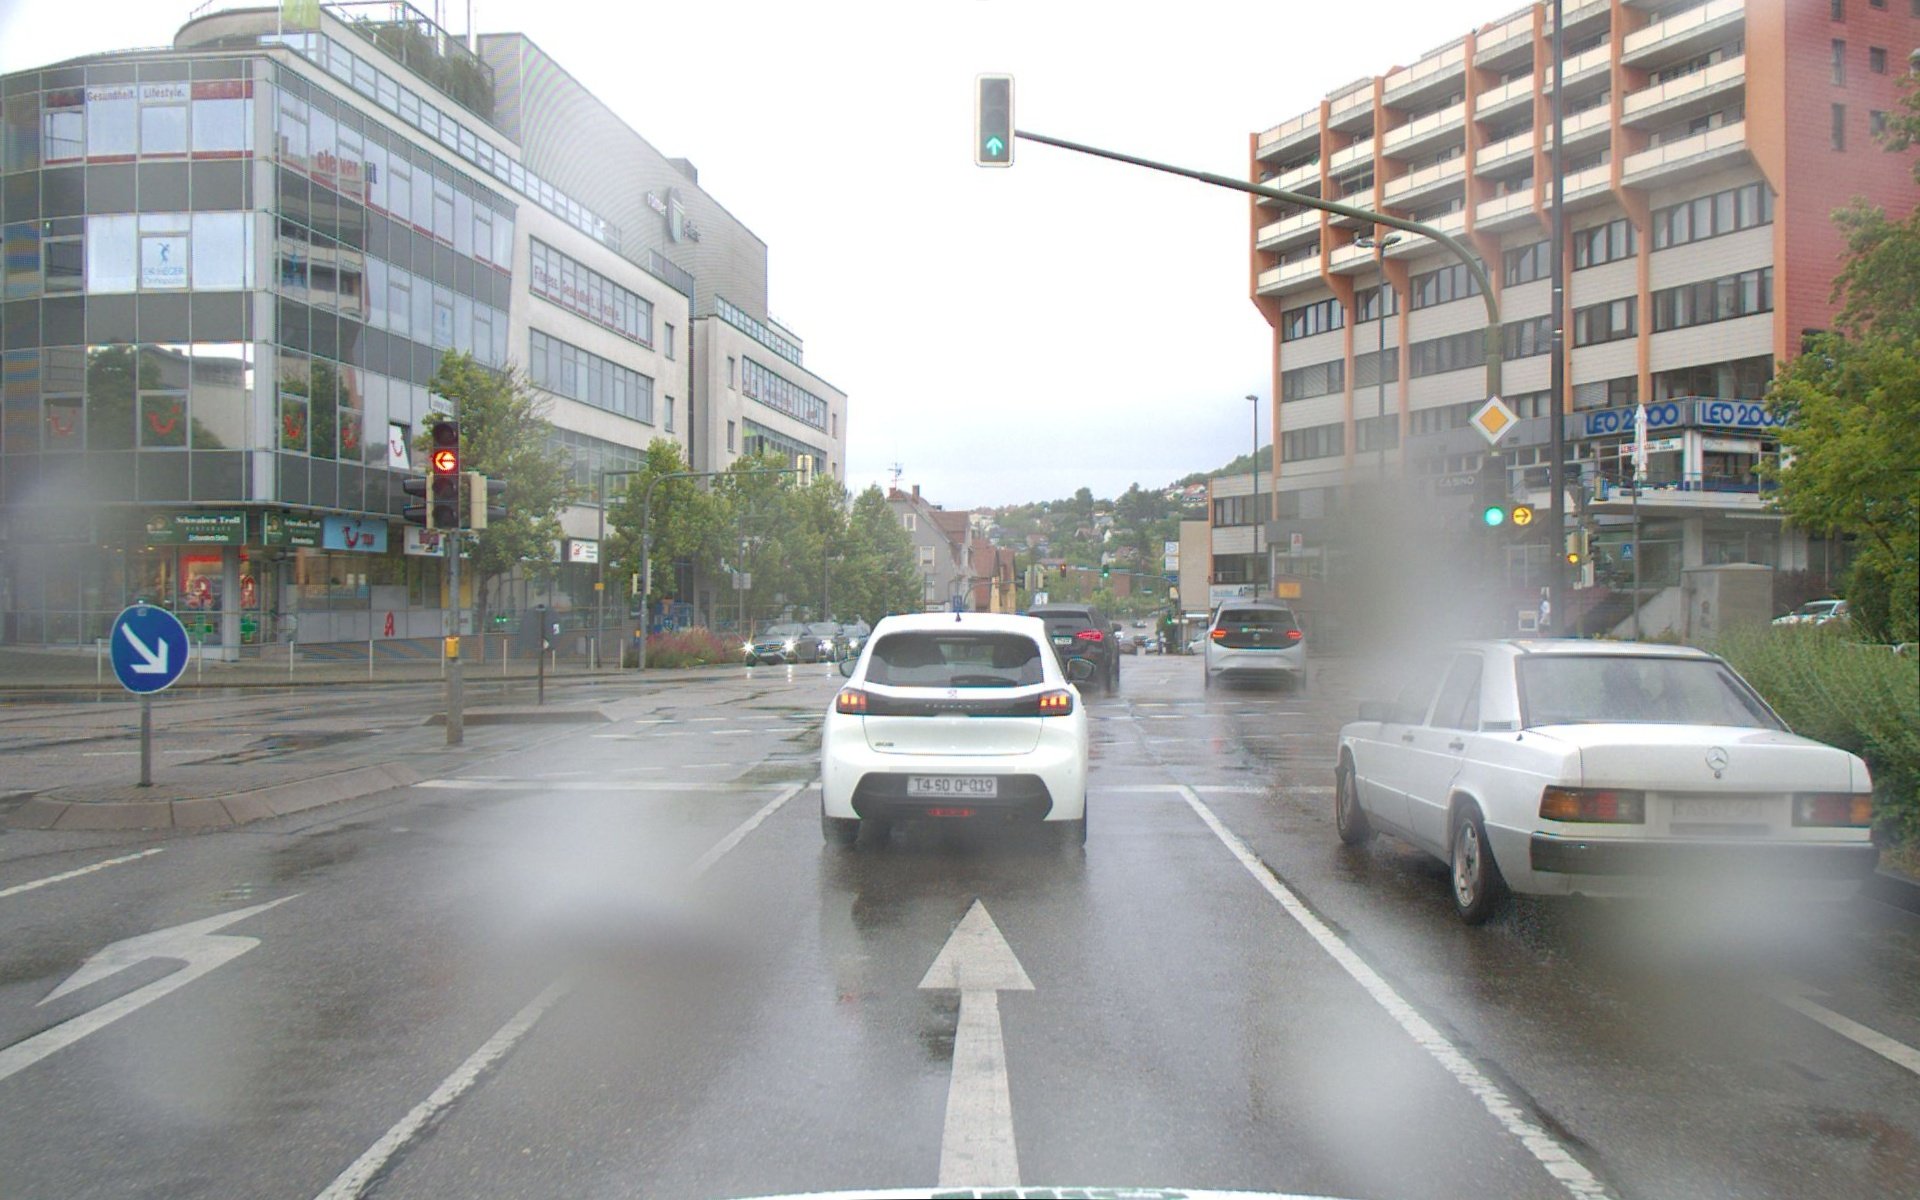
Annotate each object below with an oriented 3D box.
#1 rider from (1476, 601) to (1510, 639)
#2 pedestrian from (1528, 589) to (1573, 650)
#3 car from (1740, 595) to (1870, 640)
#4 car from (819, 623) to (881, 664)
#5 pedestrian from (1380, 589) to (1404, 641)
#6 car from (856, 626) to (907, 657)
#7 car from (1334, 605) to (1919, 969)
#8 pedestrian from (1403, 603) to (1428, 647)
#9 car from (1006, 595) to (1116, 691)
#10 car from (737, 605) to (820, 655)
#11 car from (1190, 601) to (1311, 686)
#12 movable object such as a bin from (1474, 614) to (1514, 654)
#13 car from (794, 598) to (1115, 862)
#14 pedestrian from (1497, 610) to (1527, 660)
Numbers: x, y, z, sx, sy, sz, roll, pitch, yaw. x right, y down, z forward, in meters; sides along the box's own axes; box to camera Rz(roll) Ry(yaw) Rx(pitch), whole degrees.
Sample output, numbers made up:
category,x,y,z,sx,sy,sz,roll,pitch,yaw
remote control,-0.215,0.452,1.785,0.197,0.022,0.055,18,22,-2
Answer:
category,x,y,z,sx,sy,sz,roll,pitch,yaw
rider,19.249,0.727,59.718,0.903,1.307,1.091,-3,0,7
pedestrian,16.996,0.555,47.635,0.812,1.720,1.127,0,-1,-5
car,29.387,0.592,57.483,4.725,1.431,1.794,-1,-2,-31
car,-4.761,1.876,72.414,1.736,1.622,4.591,-4,-1,8
pedestrian,13.738,0.468,52.590,0.692,1.635,0.656,1,-1,11
car,-3.713,1.959,78.831,1.689,1.412,4.603,-2,-1,6
car,3.305,0.811,9.021,1.600,1.474,4.268,1,-1,1
pedestrian,14.670,0.807,53.289,0.692,1.369,0.656,-1,-1,10
car,1.751,0.723,28.920,1.777,1.556,3.814,0,0,3
car,-6.303,1.012,58.010,1.879,1.660,4.906,1,0,6
car,5.116,0.742,29.525,1.871,1.425,3.460,0,-1,6
movable object such as a bin,19.266,1.241,59.698,1.106,1.356,1.455,1,-4,7
car,0.059,0.751,11.459,1.833,1.488,3.874,1,0,3
pedestrian,19.108,1.196,57.266,0.777,1.698,0.931,0,-1,5
